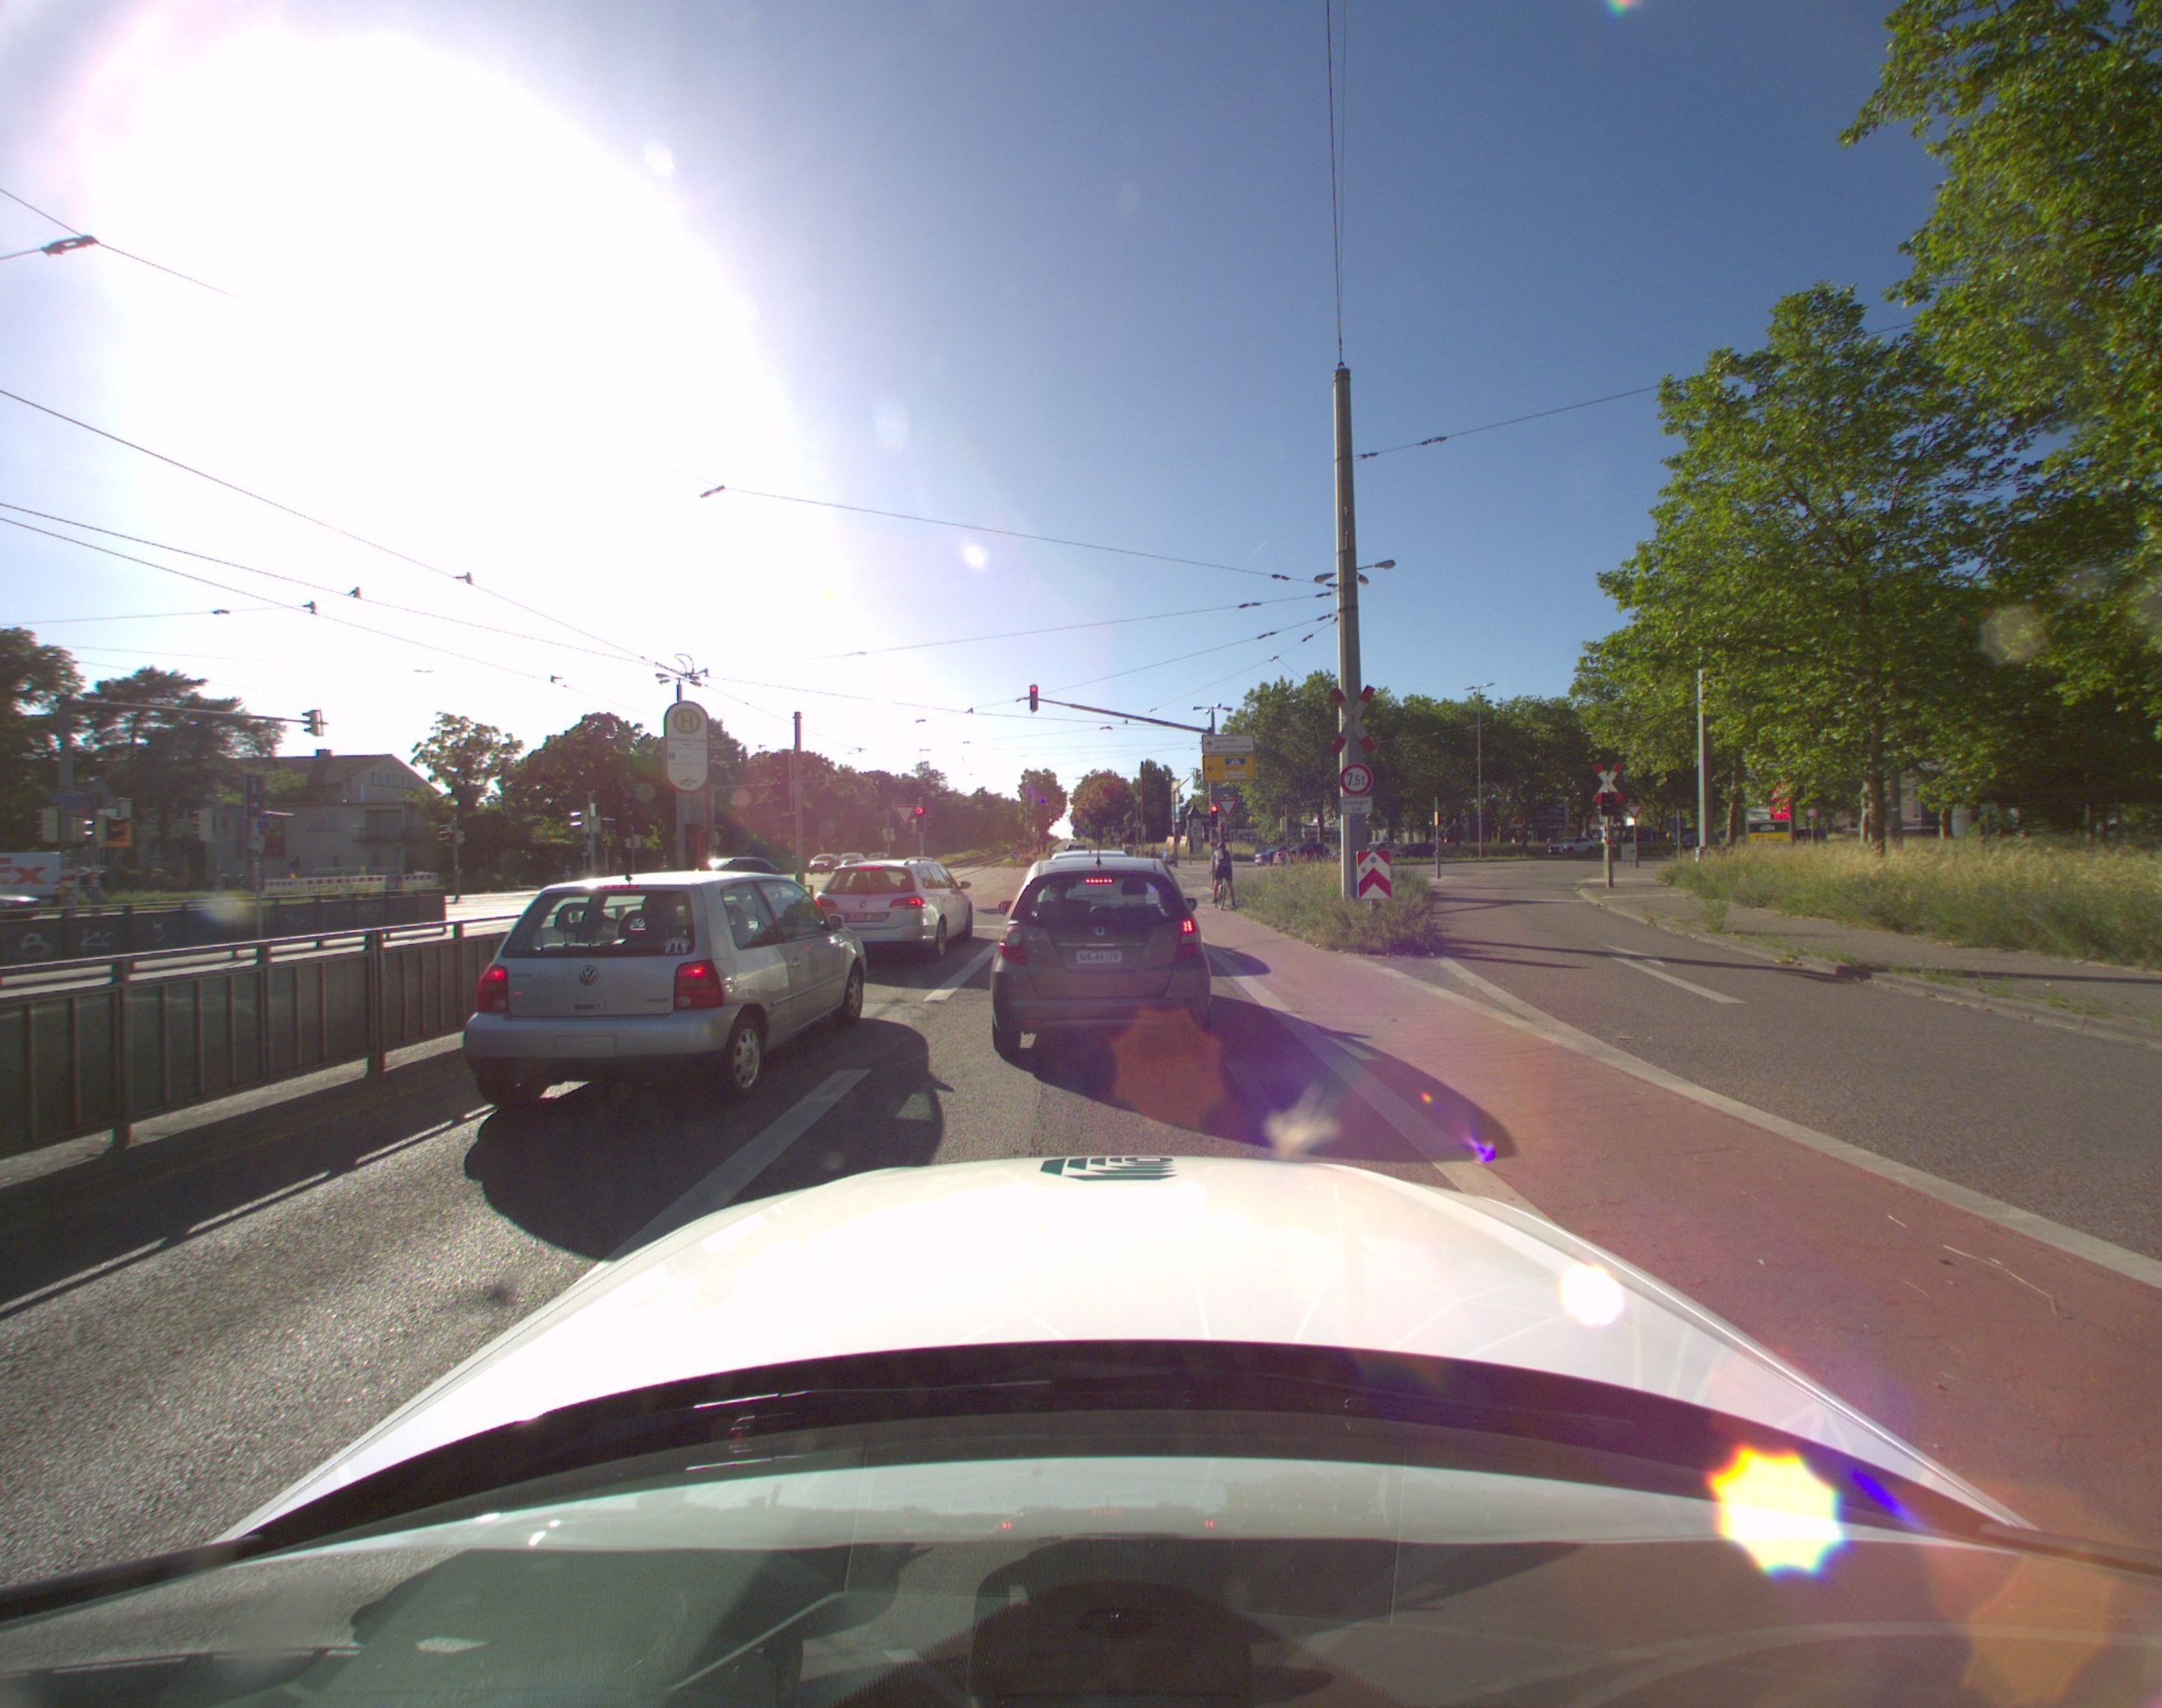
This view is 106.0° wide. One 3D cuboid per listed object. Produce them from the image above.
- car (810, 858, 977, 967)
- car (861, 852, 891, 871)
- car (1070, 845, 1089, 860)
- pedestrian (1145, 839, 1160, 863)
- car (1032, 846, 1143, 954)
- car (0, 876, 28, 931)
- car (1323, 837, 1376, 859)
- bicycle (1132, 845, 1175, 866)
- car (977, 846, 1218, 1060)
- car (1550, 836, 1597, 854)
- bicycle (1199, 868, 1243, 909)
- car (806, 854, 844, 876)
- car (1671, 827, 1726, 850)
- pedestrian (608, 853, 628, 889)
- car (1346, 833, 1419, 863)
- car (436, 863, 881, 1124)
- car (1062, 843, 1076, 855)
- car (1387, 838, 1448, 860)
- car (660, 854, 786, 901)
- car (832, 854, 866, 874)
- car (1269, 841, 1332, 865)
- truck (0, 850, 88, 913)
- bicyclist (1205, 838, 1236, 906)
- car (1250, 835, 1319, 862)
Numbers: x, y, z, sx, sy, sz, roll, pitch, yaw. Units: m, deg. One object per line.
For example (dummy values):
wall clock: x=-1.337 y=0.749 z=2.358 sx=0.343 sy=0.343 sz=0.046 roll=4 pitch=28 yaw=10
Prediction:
car: x=-2.780 y=0.799 z=12.982 sx=1.613 sy=1.457 sz=4.086 roll=-1 pitch=0 yaw=1
car: x=-18.785 y=0.676 z=74.754 sx=1.991 sy=1.604 sz=4.745 roll=0 pitch=0 yaw=-6
car: x=-0.173 y=-0.163 z=88.523 sx=1.707 sy=1.478 sz=3.993 roll=-2 pitch=0 yaw=-5
pedestrian: x=5.544 y=-0.247 z=62.943 sx=0.856 sy=1.836 sz=0.784 roll=-2 pitch=0 yaw=-24
car: x=0.143 y=0.679 z=14.132 sx=1.605 sy=1.562 sz=4.289 roll=-1 pitch=0 yaw=1
car: x=-32.029 y=1.442 z=21.497 sx=4.844 sy=1.497 sz=1.771 roll=-2 pitch=0 yaw=-25
car: x=20.698 y=-0.456 z=62.725 sx=3.757 sy=1.570 sz=1.480 roll=-2 pitch=0 yaw=-21
bicycle: x=5.609 y=0.119 z=62.954 sx=3.218 sy=1.574 sz=0.815 roll=-2 pitch=0 yaw=-24
car: x=0.106 y=0.689 z=7.492 sx=1.663 sy=1.462 sz=3.585 roll=-1 pitch=0 yaw=-1
car: x=44.037 y=-0.842 z=72.805 sx=4.005 sy=1.501 sz=1.580 roll=-2 pitch=0 yaw=-24
bicycle: x=3.629 y=0.867 z=21.302 sx=0.719 sy=0.989 sz=2.876 roll=0 pitch=0 yaw=1
car: x=-19.021 y=0.812 z=60.705 sx=1.829 sy=1.548 sz=3.993 roll=-2 pitch=0 yaw=-5
car: x=52.135 y=-1.330 z=68.733 sx=4.218 sy=1.774 sz=1.842 roll=-2 pitch=0 yaw=-23
pedestrian: x=-26.478 y=0.942 z=46.602 sx=0.748 sy=2.013 sz=0.788 roll=-2 pitch=0 yaw=-11
car: x=21.953 y=-0.447 z=59.250 sx=4.906 sy=2.013 sz=1.986 roll=-2 pitch=0 yaw=-22
car: x=-2.831 y=0.817 z=6.335 sx=1.613 sy=1.417 sz=3.352 roll=-2 pitch=0 yaw=1
car: x=-1.552 y=-0.640 z=105.421 sx=1.520 sy=1.378 sz=3.670 roll=-2 pitch=0 yaw=-5
car: x=26.881 y=-0.412 z=65.051 sx=4.526 sy=1.574 sz=1.681 roll=-2 pitch=0 yaw=-21
car: x=-12.983 y=0.819 z=29.741 sx=1.572 sy=1.544 sz=4.009 roll=-2 pitch=0 yaw=30
car: x=-18.919 y=0.821 z=66.498 sx=1.829 sy=1.548 sz=4.277 roll=-2 pitch=0 yaw=-5
car: x=15.014 y=-0.085 z=55.792 sx=4.002 sy=1.531 sz=1.594 roll=-2 pitch=0 yaw=-22
truck: x=-46.527 y=1.197 z=33.502 sx=6.855 sy=2.565 sz=1.977 roll=-2 pitch=0 yaw=-37
bicyclist: x=3.629 y=0.460 z=21.225 sx=0.663 sy=1.716 sz=0.948 roll=0 pitch=-1 yaw=1
car: x=15.025 y=-0.374 z=60.084 sx=4.705 sy=1.879 sz=1.986 roll=0 pitch=-1 yaw=-22
